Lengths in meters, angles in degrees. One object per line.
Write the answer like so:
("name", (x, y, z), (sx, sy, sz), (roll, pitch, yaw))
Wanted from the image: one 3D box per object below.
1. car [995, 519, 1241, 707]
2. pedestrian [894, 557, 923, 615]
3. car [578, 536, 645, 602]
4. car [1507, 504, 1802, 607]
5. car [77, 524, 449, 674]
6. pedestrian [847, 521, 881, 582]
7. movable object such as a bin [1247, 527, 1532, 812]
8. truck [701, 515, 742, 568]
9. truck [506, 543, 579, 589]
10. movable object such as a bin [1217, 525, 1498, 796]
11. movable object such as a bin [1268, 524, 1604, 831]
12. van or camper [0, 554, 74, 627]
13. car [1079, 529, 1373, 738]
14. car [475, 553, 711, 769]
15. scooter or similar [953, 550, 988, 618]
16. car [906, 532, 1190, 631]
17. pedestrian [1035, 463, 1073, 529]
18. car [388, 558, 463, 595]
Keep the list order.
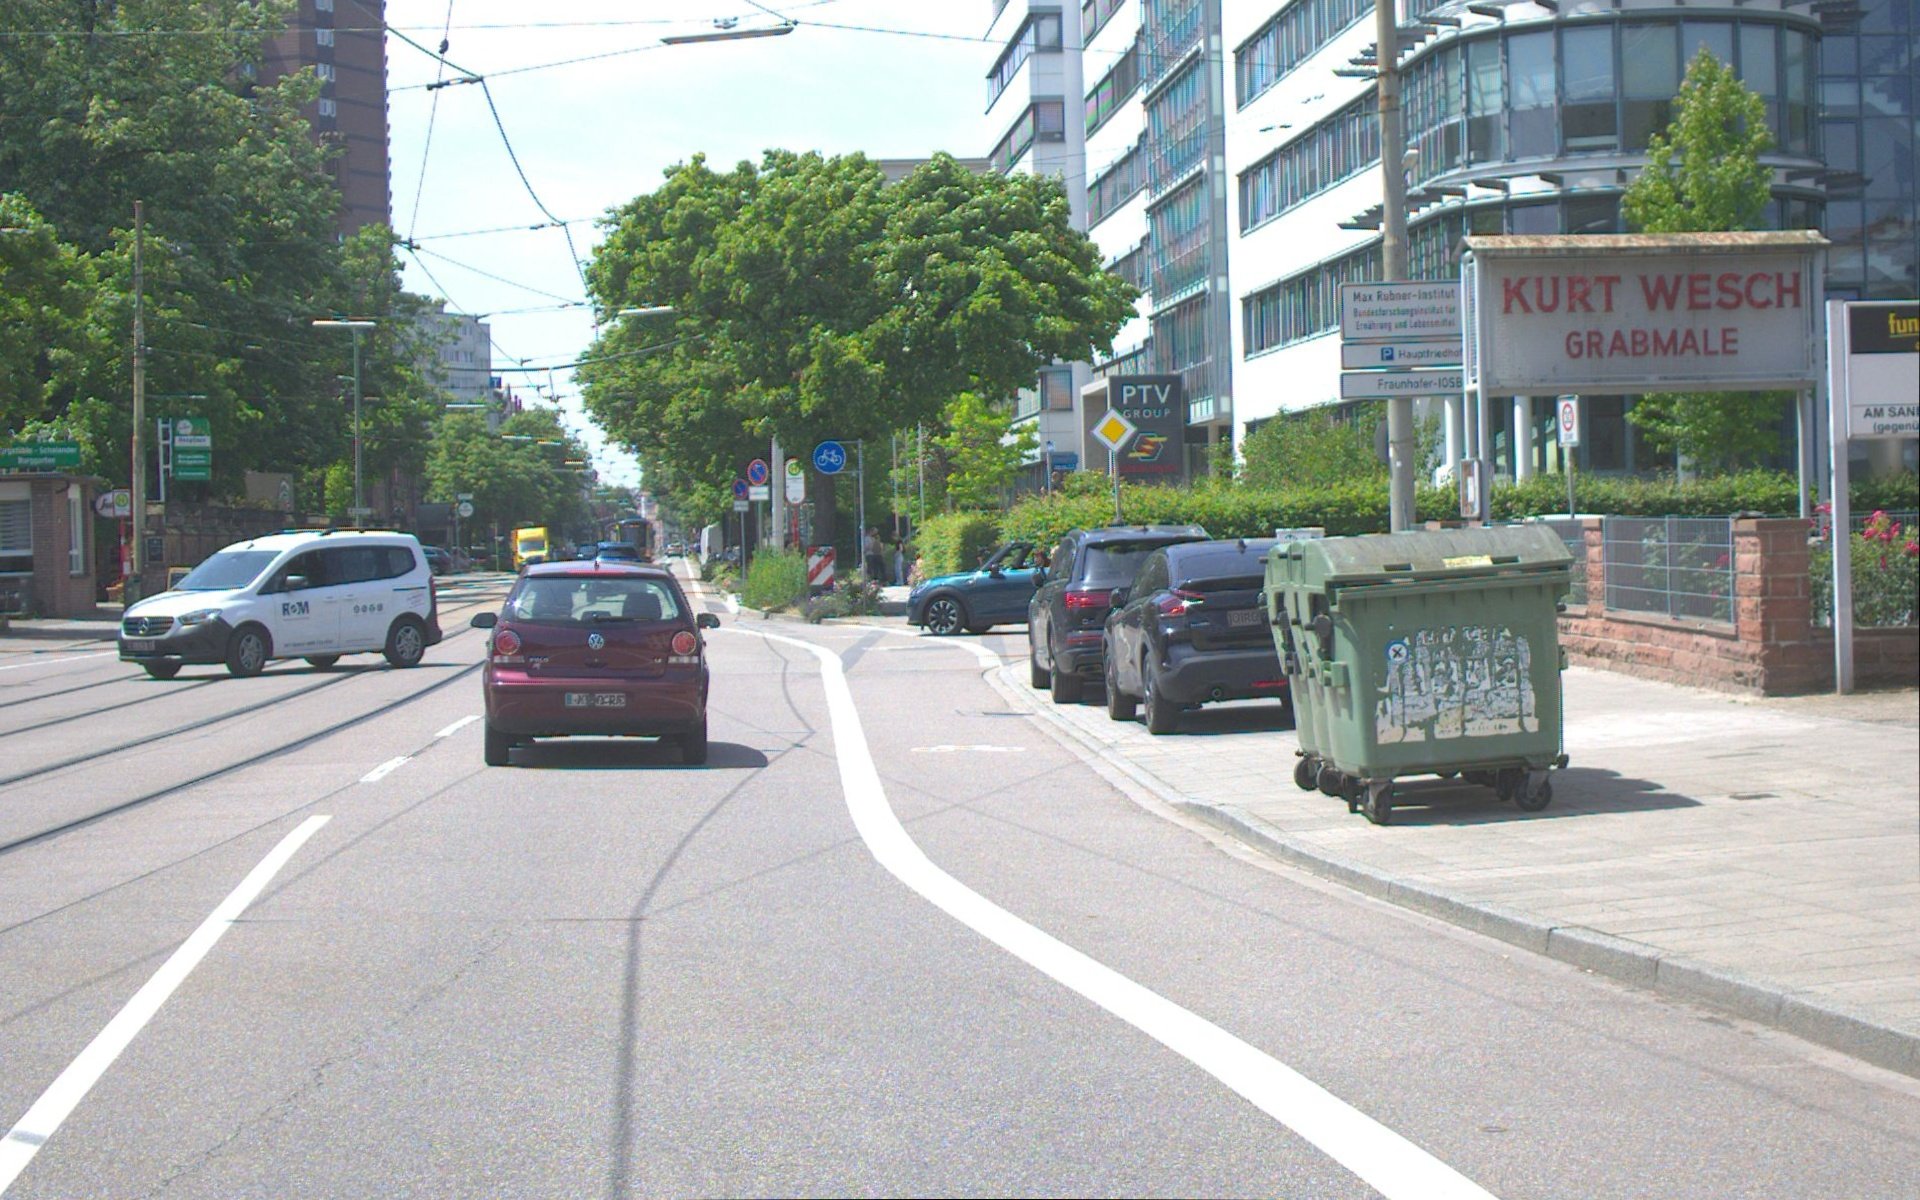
("car", (1.532, 0.072, 35.301), (1.924, 1.687, 5.082), (-3, 1, -3))
("pedestrian", (-1.553, -0.413, 103.609), (0.537, 1.709, 0.565), (-3, 1, -34))
("car", (-10.876, -0.985, 107.155), (1.993, 2.007, 4.001), (0, 1, -7))
("car", (10.713, -0.691, 53.223), (4.148, 1.454, 1.818), (-2, 1, -1))
("car", (-9.006, -0.050, 44.747), (1.998, 1.793, 4.543), (0, 1, 36))
("pedestrian", (-2.891, -1.450, 103.256), (0.677, 1.790, 0.674), (-4, 1, -36))
("movable object such as a bin", (2.346, 0.360, 18.935), (1.247, 1.450, 1.058), (-4, 1, -8))
("truck", (-12.143, -2.995, 174.800), (1.993, 2.652, 4.876), (0, 1, -5))
("truck", (-26.550, -2.176, 218.899), (2.370, 2.777, 7.316), (-1, 1, 11))
("movable object such as a bin", (2.298, 0.334, 20.009), (1.323, 1.450, 1.058), (-4, 1, -8))
("movable object such as a bin", (2.448, 0.378, 17.833), (1.391, 1.450, 1.139), (-4, 1, -8))
("van or camper", (-22.689, -0.232, 79.872), (3.783, 1.623, 1.872), (0, 2, -4))
("car", (2.176, 0.243, 29.295), (1.772, 1.543, 4.468), (-3, 1, -4))
("car", (-2.843, 0.396, 26.059), (1.618, 1.481, 4.001), (0, 1, -8))
("scooter or similar", (0.194, -0.292, 62.125), (0.326, 1.218, 1.151), (0, 1, 17))
("car", (1.340, -0.284, 51.907), (3.918, 1.367, 1.702), (-1, 1, 20))
("pedestrian", (2.546, -2.795, 92.812), (0.874, 1.709, 1.089), (-3, 0, 5))
("car", (-30.632, -1.331, 197.089), (3.987, 2.007, 2.000), (-1, 1, 0))
